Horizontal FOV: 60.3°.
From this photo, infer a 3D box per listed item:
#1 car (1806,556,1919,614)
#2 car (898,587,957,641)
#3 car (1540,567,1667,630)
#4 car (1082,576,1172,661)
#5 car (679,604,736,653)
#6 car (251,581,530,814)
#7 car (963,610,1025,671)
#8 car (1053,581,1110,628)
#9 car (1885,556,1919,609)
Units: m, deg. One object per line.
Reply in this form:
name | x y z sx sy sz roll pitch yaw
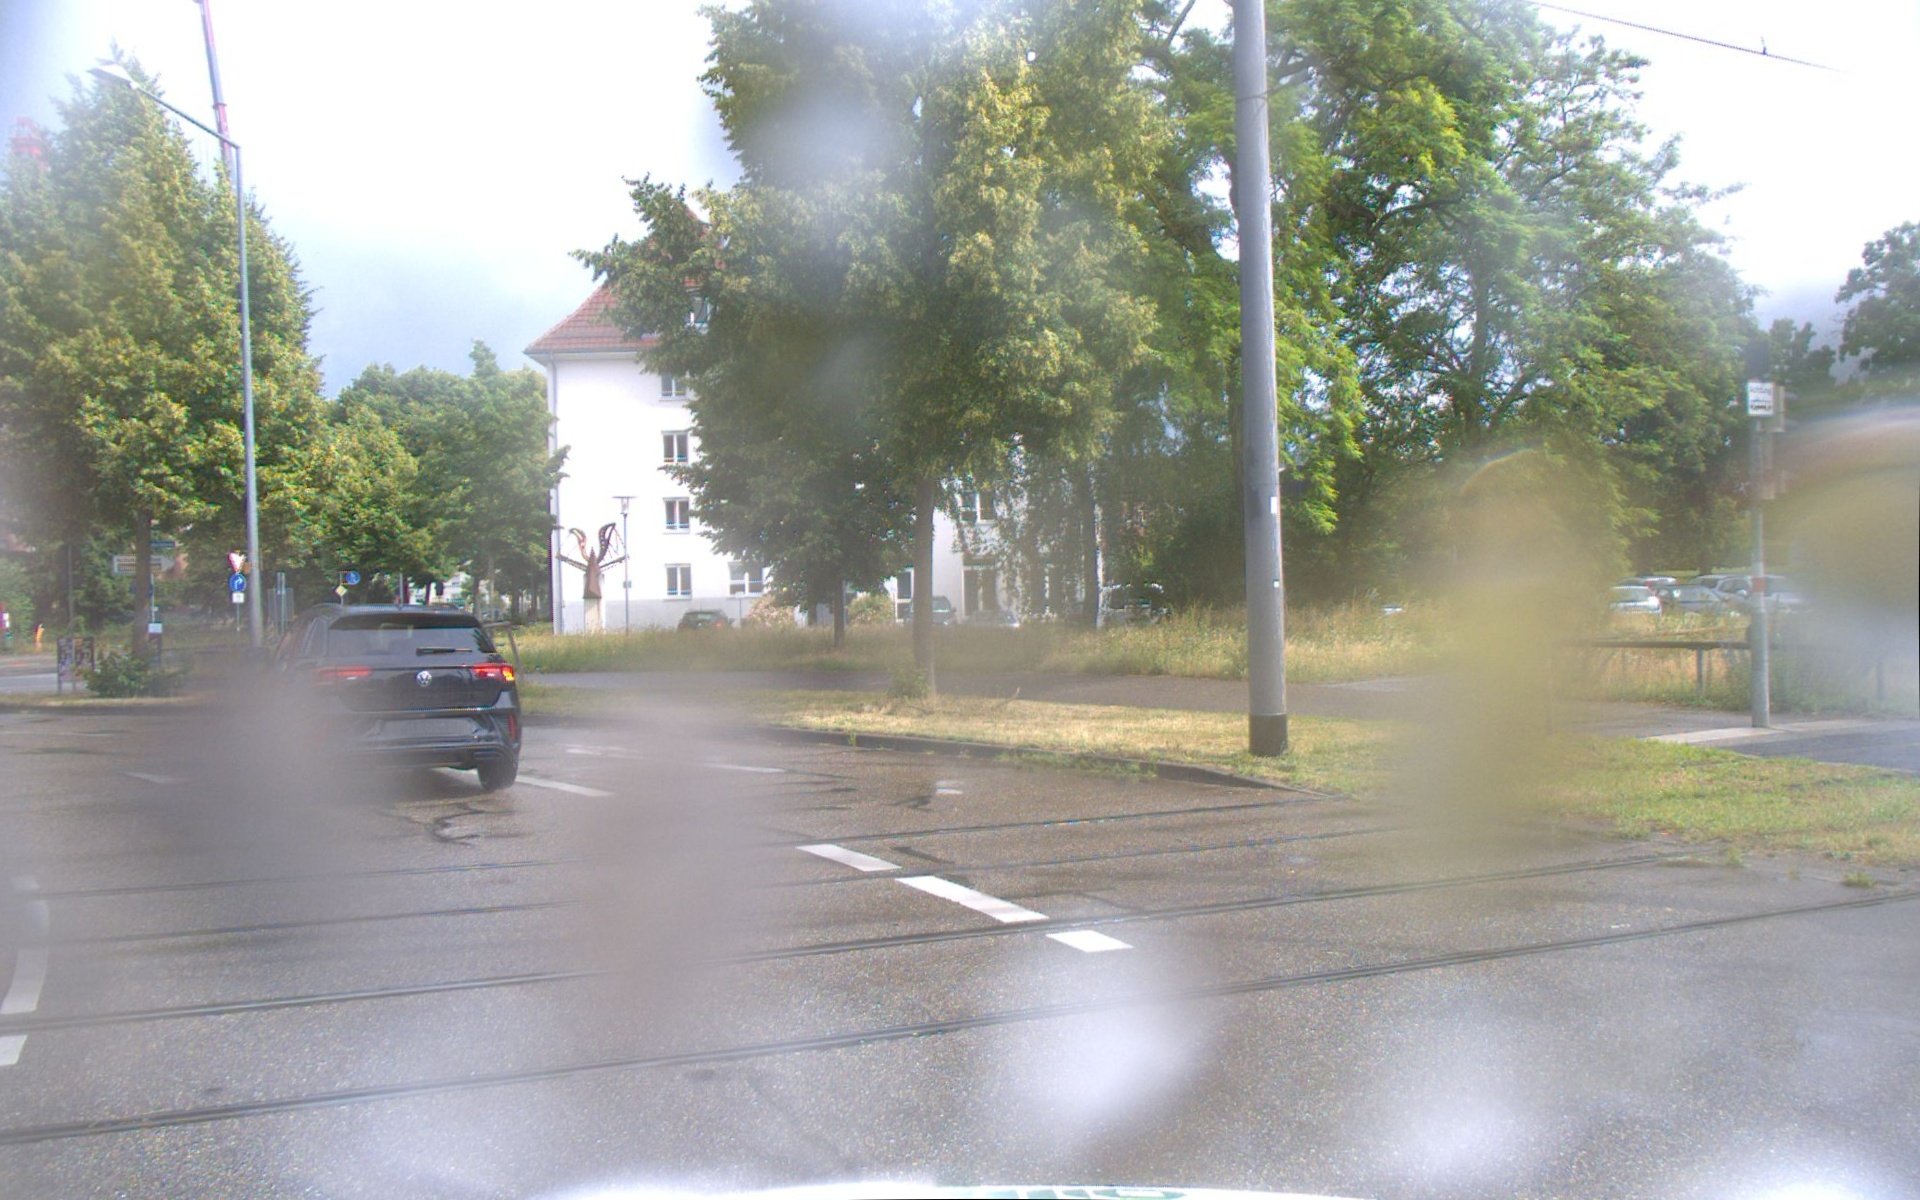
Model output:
car | 25.128 -0.413 45.758 1.606 1.487 3.611 -2 0 1
car | -1.150 0.436 56.791 1.809 1.579 4.104 -2 2 -3
car | 17.575 -0.036 45.367 1.807 1.587 3.977 -2 0 -2
car | 4.562 0.444 45.859 2.063 2.093 5.163 -3 1 2
car | -8.579 0.942 56.432 1.638 1.508 3.736 -2 1 -5
car | -5.092 0.743 14.451 1.874 1.646 3.968 -3 0 -25
car | 0.932 1.079 45.548 1.570 1.536 3.621 -2 0 1
car | 4.172 0.137 57.281 1.624 1.368 3.582 -2 3 -1
car | 27.590 -0.522 46.112 1.606 1.487 3.611 -2 0 1
